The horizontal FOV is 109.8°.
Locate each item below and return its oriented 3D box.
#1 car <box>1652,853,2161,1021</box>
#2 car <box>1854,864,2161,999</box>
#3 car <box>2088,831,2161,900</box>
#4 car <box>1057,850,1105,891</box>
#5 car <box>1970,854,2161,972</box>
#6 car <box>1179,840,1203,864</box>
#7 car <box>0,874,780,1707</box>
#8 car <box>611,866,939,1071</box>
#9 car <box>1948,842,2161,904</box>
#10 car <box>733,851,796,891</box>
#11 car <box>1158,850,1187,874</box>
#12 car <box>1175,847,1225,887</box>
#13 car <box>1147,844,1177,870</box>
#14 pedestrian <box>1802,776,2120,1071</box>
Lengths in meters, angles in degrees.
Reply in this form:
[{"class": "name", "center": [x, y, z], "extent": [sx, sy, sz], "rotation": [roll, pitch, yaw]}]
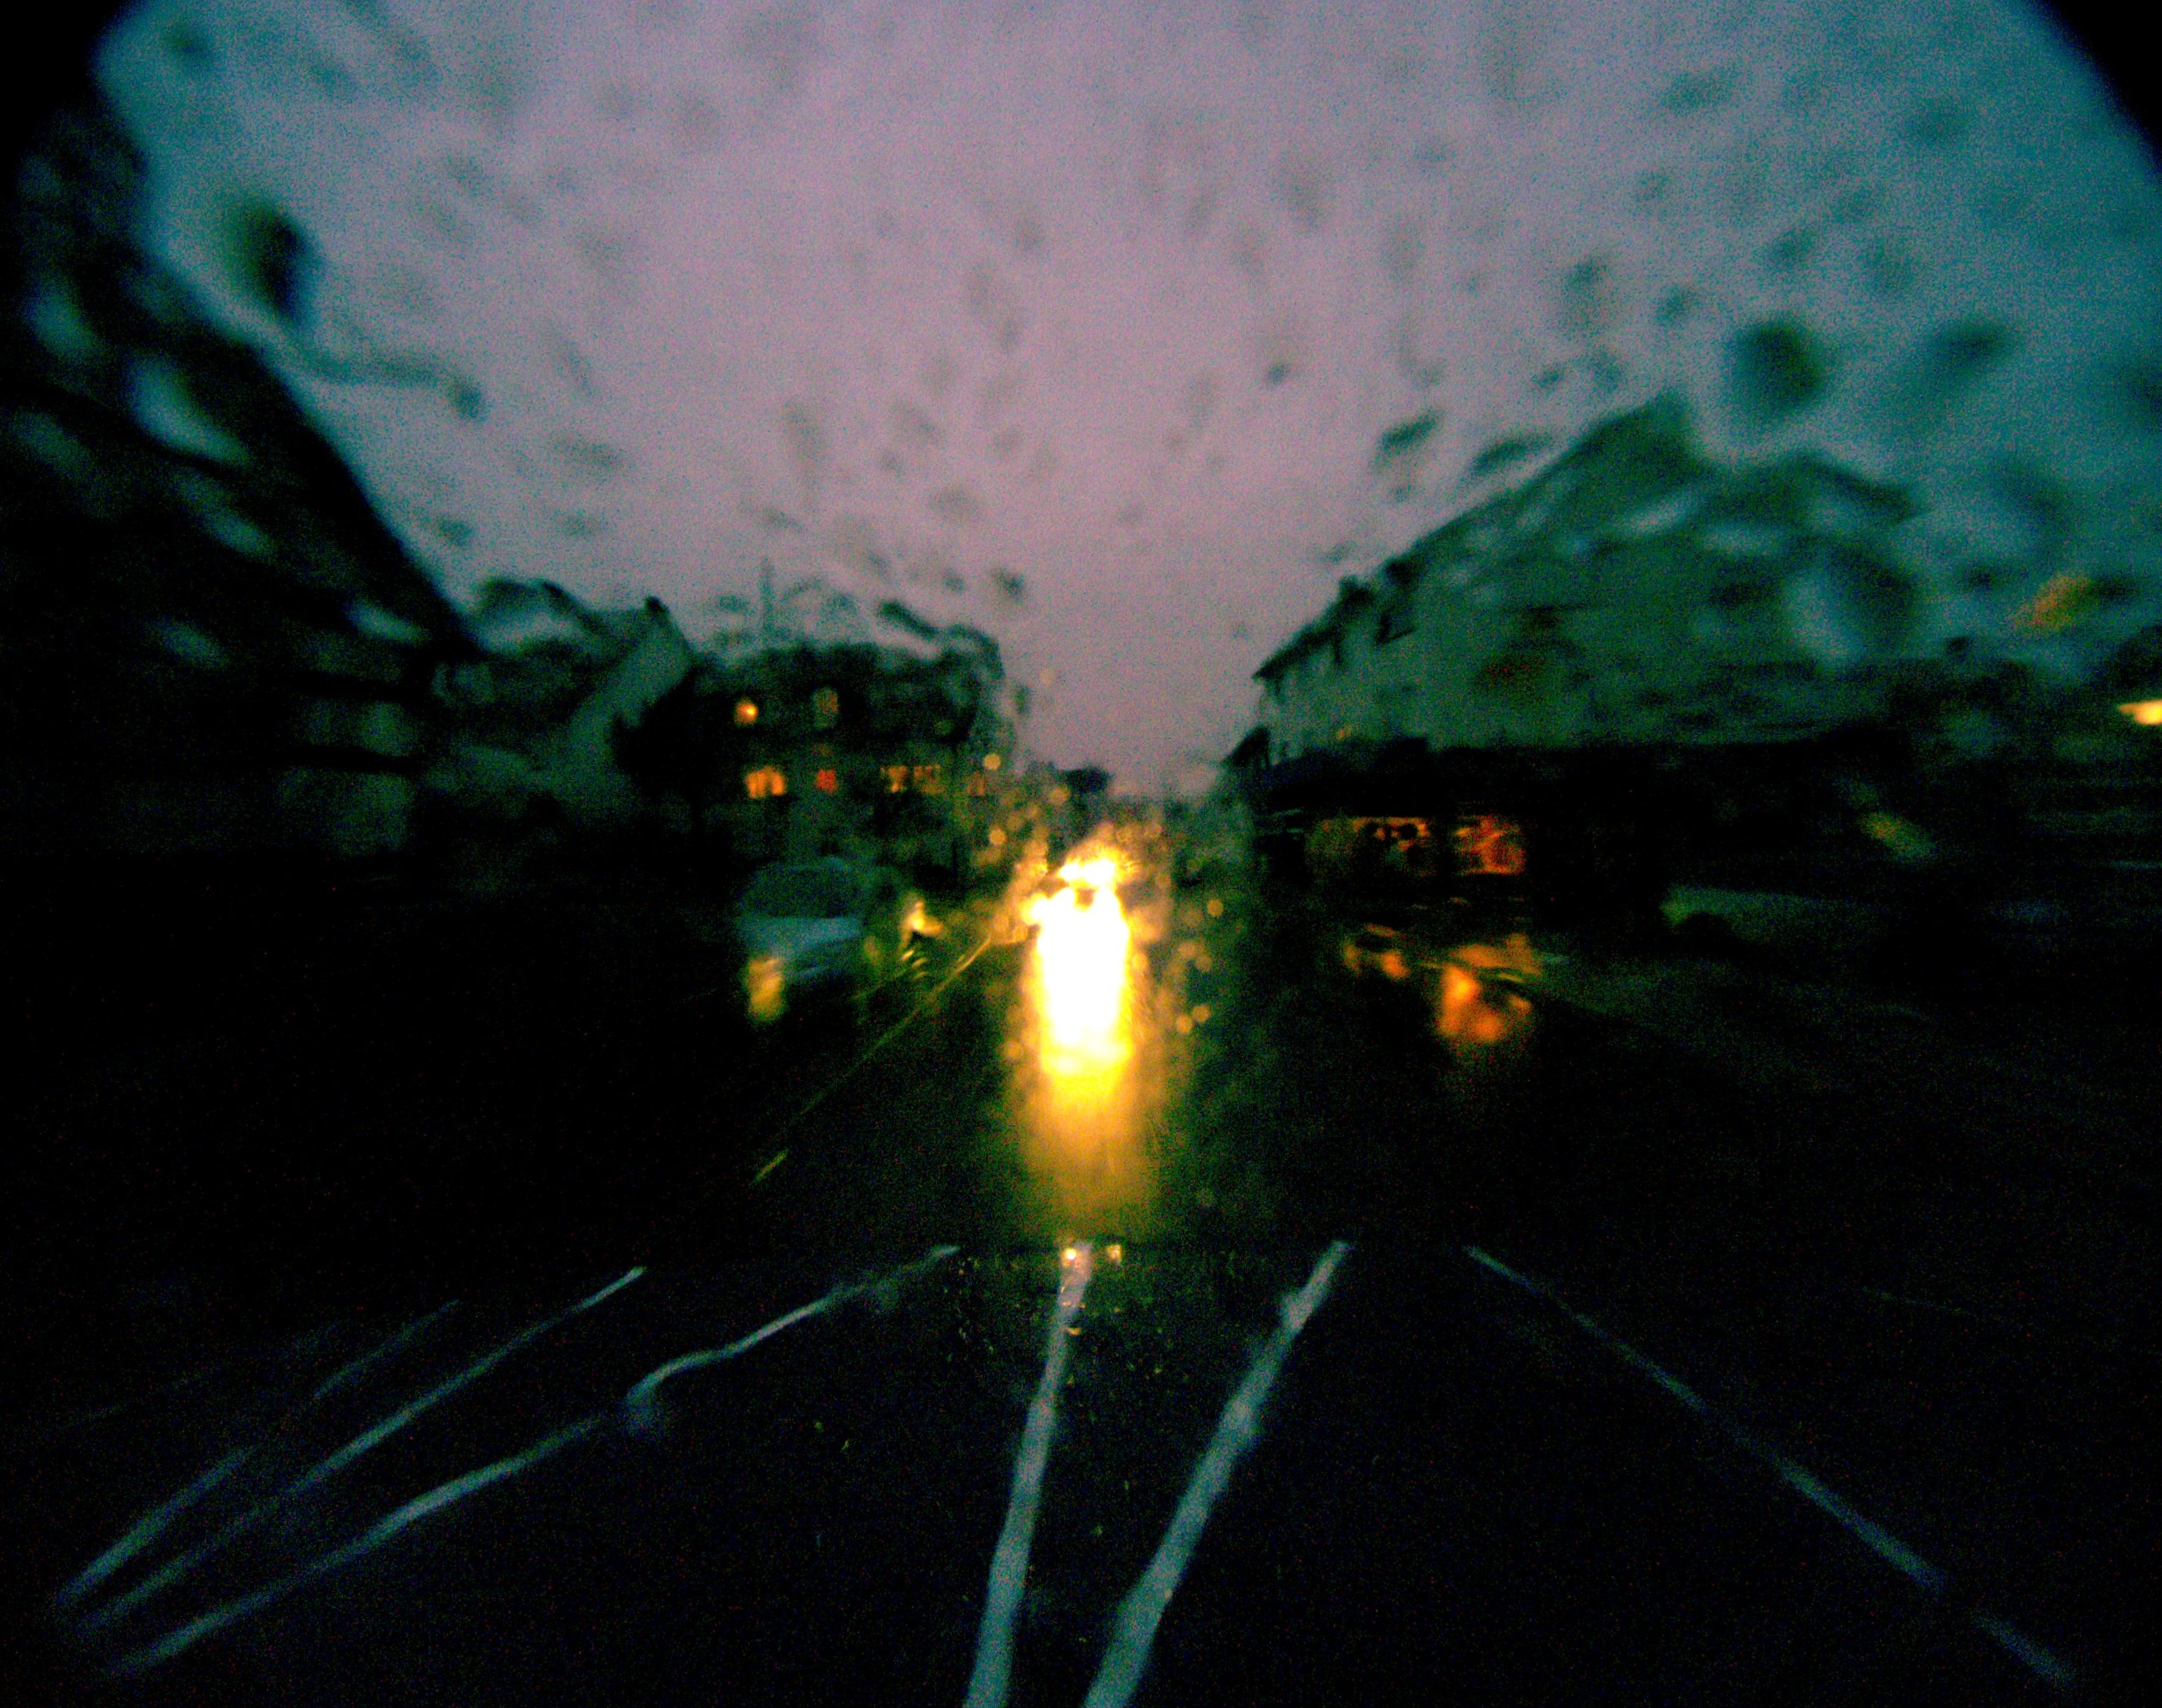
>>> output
[{"class": "car", "center": [9.387, 0.775, 9.020], "extent": [1.768, 1.491, 4.450], "rotation": [0, -1, -2]}, {"class": "car", "center": [11.981, 0.811, 8.777], "extent": [1.701, 1.392, 4.452], "rotation": [0, -1, 3]}, {"class": "car", "center": [30.045, 0.304, 19.971], "extent": [1.704, 1.859, 3.966], "rotation": [0, -1, -18]}, {"class": "car", "center": [0.039, 0.653, 32.264], "extent": [1.878, 1.622, 4.000], "rotation": [-1, 0, 1]}, {"class": "car", "center": [14.680, 0.732, 9.207], "extent": [2.107, 1.491, 5.047], "rotation": [0, -1, 4]}, {"class": "car", "center": [12.840, -0.288, 88.422], "extent": [2.044, 2.644, 4.215], "rotation": [-3, 0, 17]}, {"class": "car", "center": [-2.715, 0.929, 2.446], "extent": [1.769, 1.518, 4.388], "rotation": [1, 1, -1]}, {"class": "car", "center": [-2.777, 0.933, 7.952], "extent": [1.736, 1.450, 4.000], "rotation": [1, 1, 1]}, {"class": "car", "center": [26.908, 0.509, 20.712], "extent": [1.704, 1.529, 3.966], "rotation": [0, -1, -18]}, {"class": "car", "center": [-12.727, 0.648, 30.432], "extent": [1.798, 1.459, 4.214], "rotation": [0, 0, -30]}, {"class": "car", "center": [6.103, 0.494, 50.678], "extent": [1.798, 1.448, 4.396], "rotation": [-3, 0, 7]}, {"class": "car", "center": [5.312, 0.546, 34.335], "extent": [1.725, 1.605, 3.816], "rotation": [-3, 0, 2]}, {"class": "car", "center": [6.442, 0.259, 59.953], "extent": [1.883, 1.889, 4.838], "rotation": [-3, -1, 10]}, {"class": "pedestrian", "center": [6.409, 0.453, 5.629], "extent": [0.976, 1.927, 1.201], "rotation": [-1, 1, -9]}]
